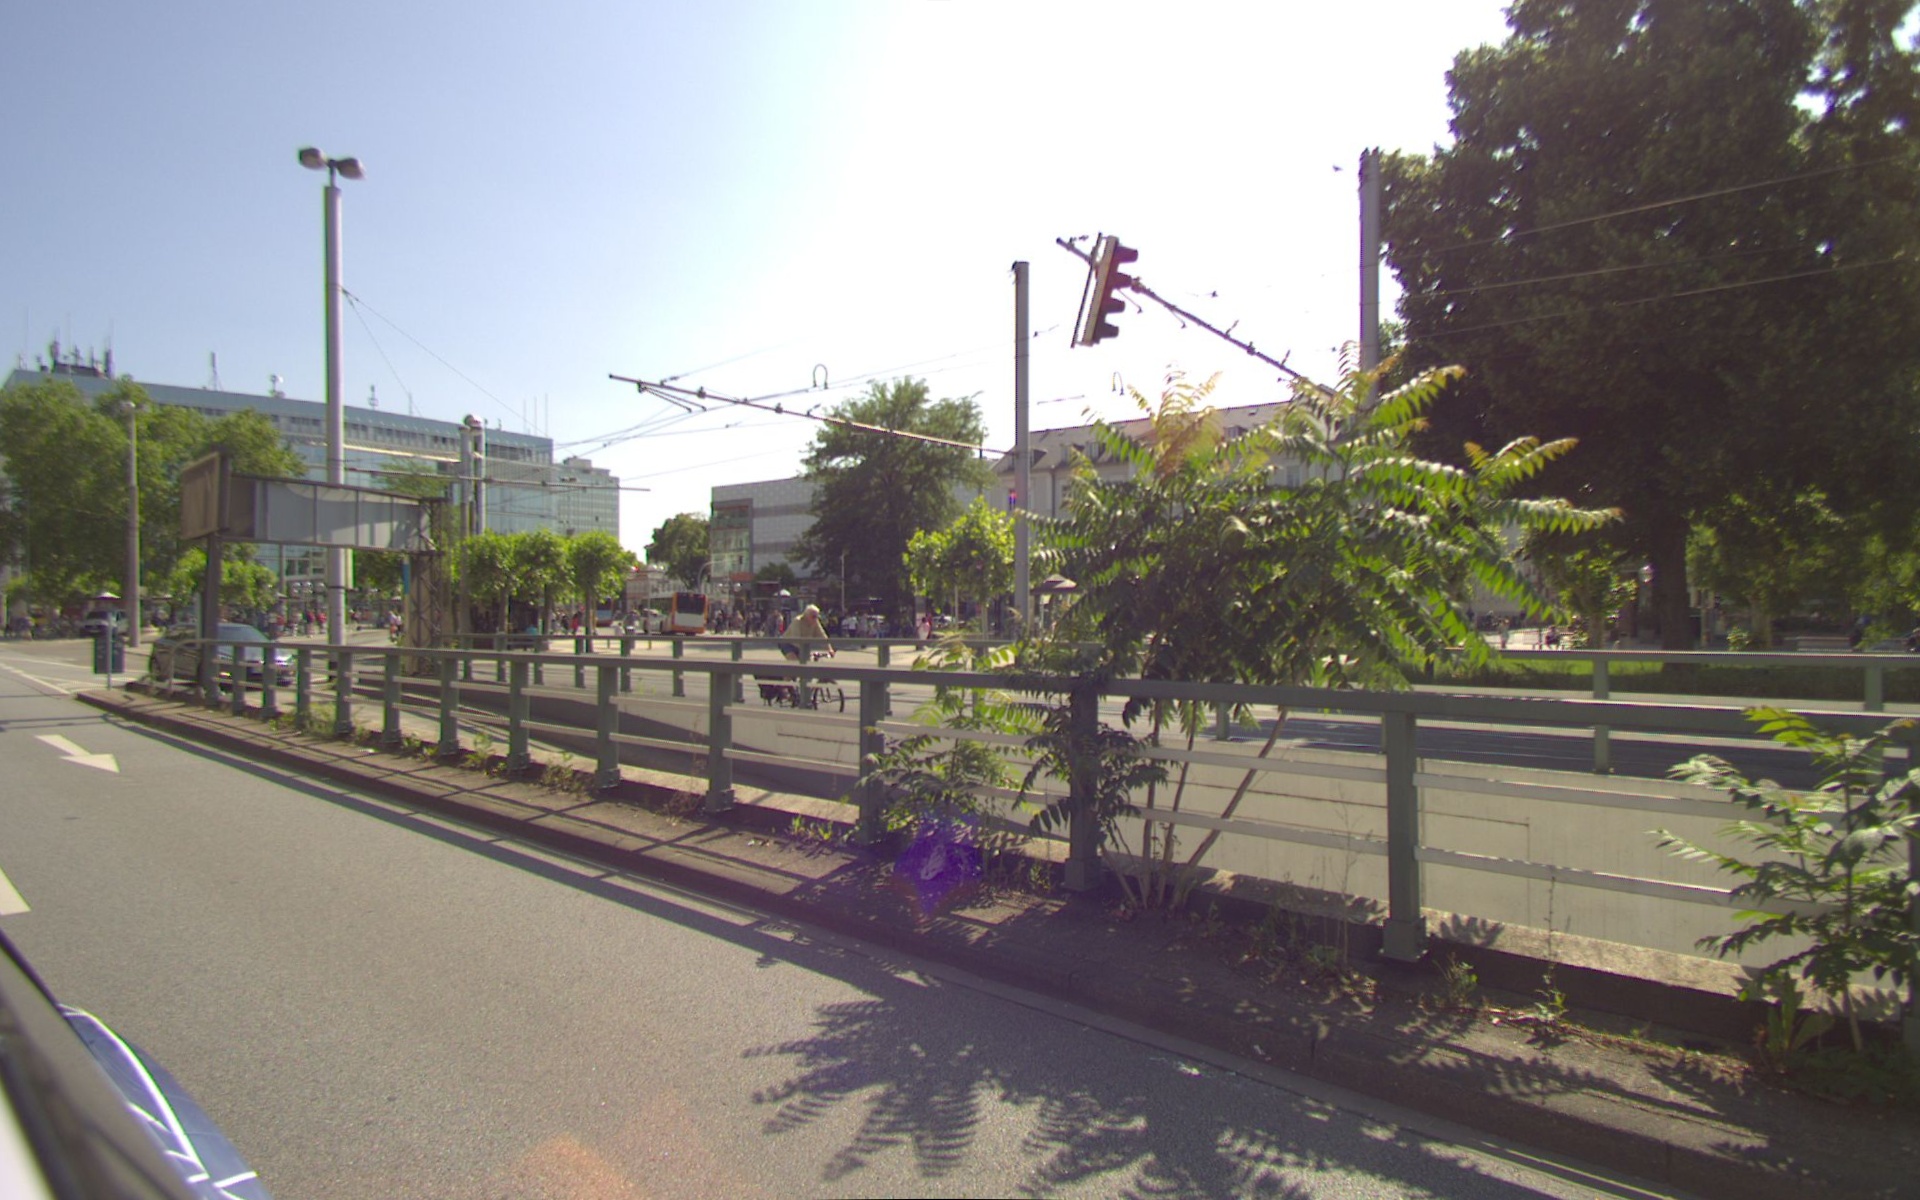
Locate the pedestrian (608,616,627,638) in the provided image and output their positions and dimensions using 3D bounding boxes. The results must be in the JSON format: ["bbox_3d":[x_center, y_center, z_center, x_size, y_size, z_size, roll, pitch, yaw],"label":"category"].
[{"bbox_3d":[-16.141,1.263,47.668,0.580,1.008,0.627,-2,-3,44],"label":"pedestrian"}]

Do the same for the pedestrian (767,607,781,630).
[{"bbox_3d":[-12.003,1.206,65.352,0.616,1.477,0.681,2,-3,-44],"label":"pedestrian"}]

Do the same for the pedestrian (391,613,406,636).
[{"bbox_3d":[-35.999,1.556,64.923,0.549,1.477,0.621,0,-2,19],"label":"pedestrian"}]

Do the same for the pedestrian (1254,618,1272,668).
[{"bbox_3d":[9.967,1.404,33.301,0.493,1.621,0.410,-1,-3,32],"label":"pedestrian"}]

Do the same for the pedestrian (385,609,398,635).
[{"bbox_3d":[-36.576,1.439,65.136,0.518,1.678,0.469,-1,-2,19],"label":"pedestrian"}]

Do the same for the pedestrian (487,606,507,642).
[{"bbox_3d":[-20.799,1.085,45.477,0.597,1.621,0.573,0,-2,13],"label":"pedestrian"}]

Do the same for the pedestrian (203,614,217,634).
[{"bbox_3d":[-65.610,2.089,88.526,0.780,1.760,0.744,-1,2,31],"label":"pedestrian"}]

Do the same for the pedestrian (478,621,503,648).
[{"bbox_3d":[-20.383,1.495,43.934,0.751,1.180,0.669,-1,-3,35],"label":"pedestrian"}]

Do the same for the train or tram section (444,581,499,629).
[{"bbox_3d":[-43.238,0.337,89.814,2.578,3.855,9.547,-2,2,-15],"label":"train or tram section"}]

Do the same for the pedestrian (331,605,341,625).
[{"bbox_3d":[-50.274,1.211,81.542,0.448,1.561,0.474,0,-2,15],"label":"pedestrian"}]

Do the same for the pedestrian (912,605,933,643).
[{"bbox_3d":[-1.715,1.099,46.156,0.705,1.719,0.669,-1,-2,40],"label":"pedestrian"}]

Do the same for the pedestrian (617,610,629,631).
[{"bbox_3d":[-23.085,1.401,69.299,0.585,1.477,0.522,-1,-2,22],"label":"pedestrian"}]

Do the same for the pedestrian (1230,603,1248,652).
[{"bbox_3d":[9.299,0.913,33.728,0.465,1.621,0.447,-1,-3,35],"label":"pedestrian"}]

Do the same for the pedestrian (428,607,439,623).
[{"bbox_3d":[-50.644,1.474,97.328,0.555,1.483,0.747,-1,2,41],"label":"pedestrian"}]

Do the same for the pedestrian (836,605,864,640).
[{"bbox_3d":[-5.675,1.177,52.138,0.953,1.807,1.082,2,-3,-40],"label":"pedestrian"}]

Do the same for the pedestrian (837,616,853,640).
[{"bbox_3d":[-6.039,1.479,53.160,0.613,1.273,0.583,2,-3,-40],"label":"pedestrian"}]

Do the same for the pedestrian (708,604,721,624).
[{"bbox_3d":[-18.280,1.025,75.325,0.681,1.477,0.616,-2,-3,44],"label":"pedestrian"}]

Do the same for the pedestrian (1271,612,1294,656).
[{"bbox_3d":[11.223,1.173,35.206,0.659,1.504,0.520,-1,-3,33],"label":"pedestrian"}]

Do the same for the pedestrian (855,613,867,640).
[{"bbox_3d":[-4.823,1.295,49.374,0.479,1.273,0.400,-1,-2,23],"label":"pedestrian"}]

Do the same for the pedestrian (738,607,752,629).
[{"bbox_3d":[-14.396,1.226,67.868,0.680,1.477,0.617,-1,-3,38],"label":"pedestrian"}]

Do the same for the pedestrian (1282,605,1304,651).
[{"bbox_3d":[11.927,1.006,36.240,0.618,1.621,0.488,-1,-3,32],"label":"pedestrian"}]

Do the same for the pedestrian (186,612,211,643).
[{"bbox_3d":[-41.380,1.493,54.990,0.678,1.671,0.885,-1,-3,32],"label":"pedestrian"}]

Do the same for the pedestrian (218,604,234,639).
[{"bbox_3d":[-33.495,0.985,46.156,0.518,1.621,0.627,2,-3,-39],"label":"pedestrian"}]

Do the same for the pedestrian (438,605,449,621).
[{"bbox_3d":[-50.459,1.263,98.790,0.555,1.483,0.747,-1,2,41],"label":"pedestrian"}]

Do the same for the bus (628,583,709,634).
[{"bbox_3d":[-22.527,0.522,77.518,3.014,3.445,12.499,-3,2,-30],"label":"bus"}]

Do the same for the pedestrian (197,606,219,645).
[{"bbox_3d":[-33.880,1.138,45.589,0.581,1.747,0.524,0,-2,11],"label":"pedestrian"}]

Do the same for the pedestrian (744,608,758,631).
[{"bbox_3d":[-13.849,1.294,66.953,0.679,1.477,0.617,-1,-3,36],"label":"pedestrian"}]

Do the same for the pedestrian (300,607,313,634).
[{"bbox_3d":[-44.366,1.398,68.679,0.605,1.830,0.570,-2,-3,41],"label":"pedestrian"}]

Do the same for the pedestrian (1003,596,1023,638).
[{"bbox_3d":[2.547,0.825,49.008,0.621,2.023,0.736,2,-2,-43],"label":"pedestrian"}]

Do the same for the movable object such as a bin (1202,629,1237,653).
[{"bbox_3d":[8.482,1.333,33.123,0.800,0.760,0.897,-2,-3,42],"label":"movable object such as a bin"}]
